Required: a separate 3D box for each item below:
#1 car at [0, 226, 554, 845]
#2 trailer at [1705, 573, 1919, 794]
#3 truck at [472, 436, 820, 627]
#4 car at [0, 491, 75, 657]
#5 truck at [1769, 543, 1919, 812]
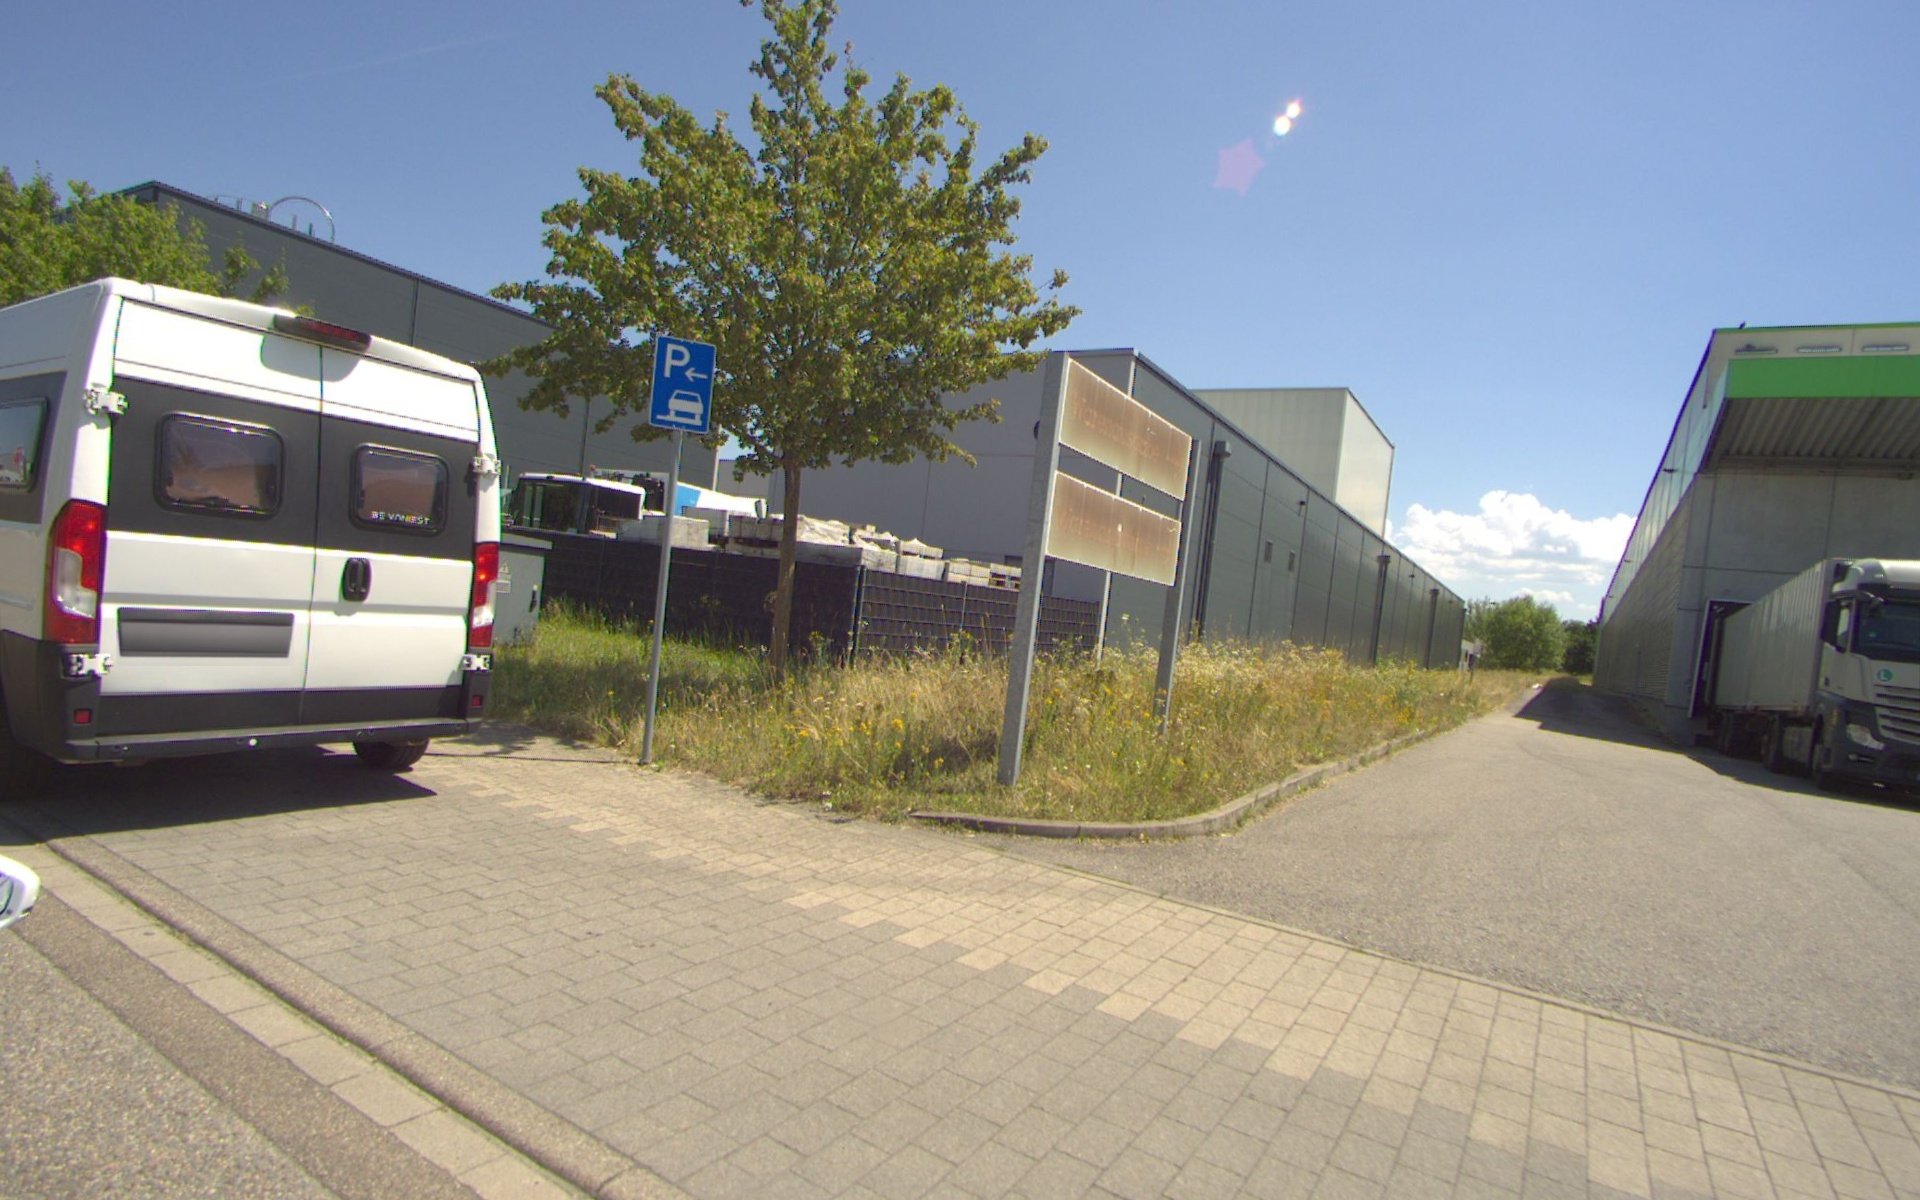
[{"bbox_3d":[-5.637,-0.471,6.746,6.053,2.529,2.268,7,1,34],"label":"car"},{"bbox_3d":[20.492,1.989,24.248,2.758,3.922,12.631,6,-1,32],"label":"trailer"},{"bbox_3d":[-7.712,-1.446,26.971,2.981,3.870,10.004,7,0,22],"label":"truck"},{"bbox_3d":[-10.923,-0.473,10.197,4.406,1.513,1.829,7,1,34],"label":"car"},{"bbox_3d":[15.831,1.366,16.766,2.758,3.923,5.067,6,0,32],"label":"truck"}]
